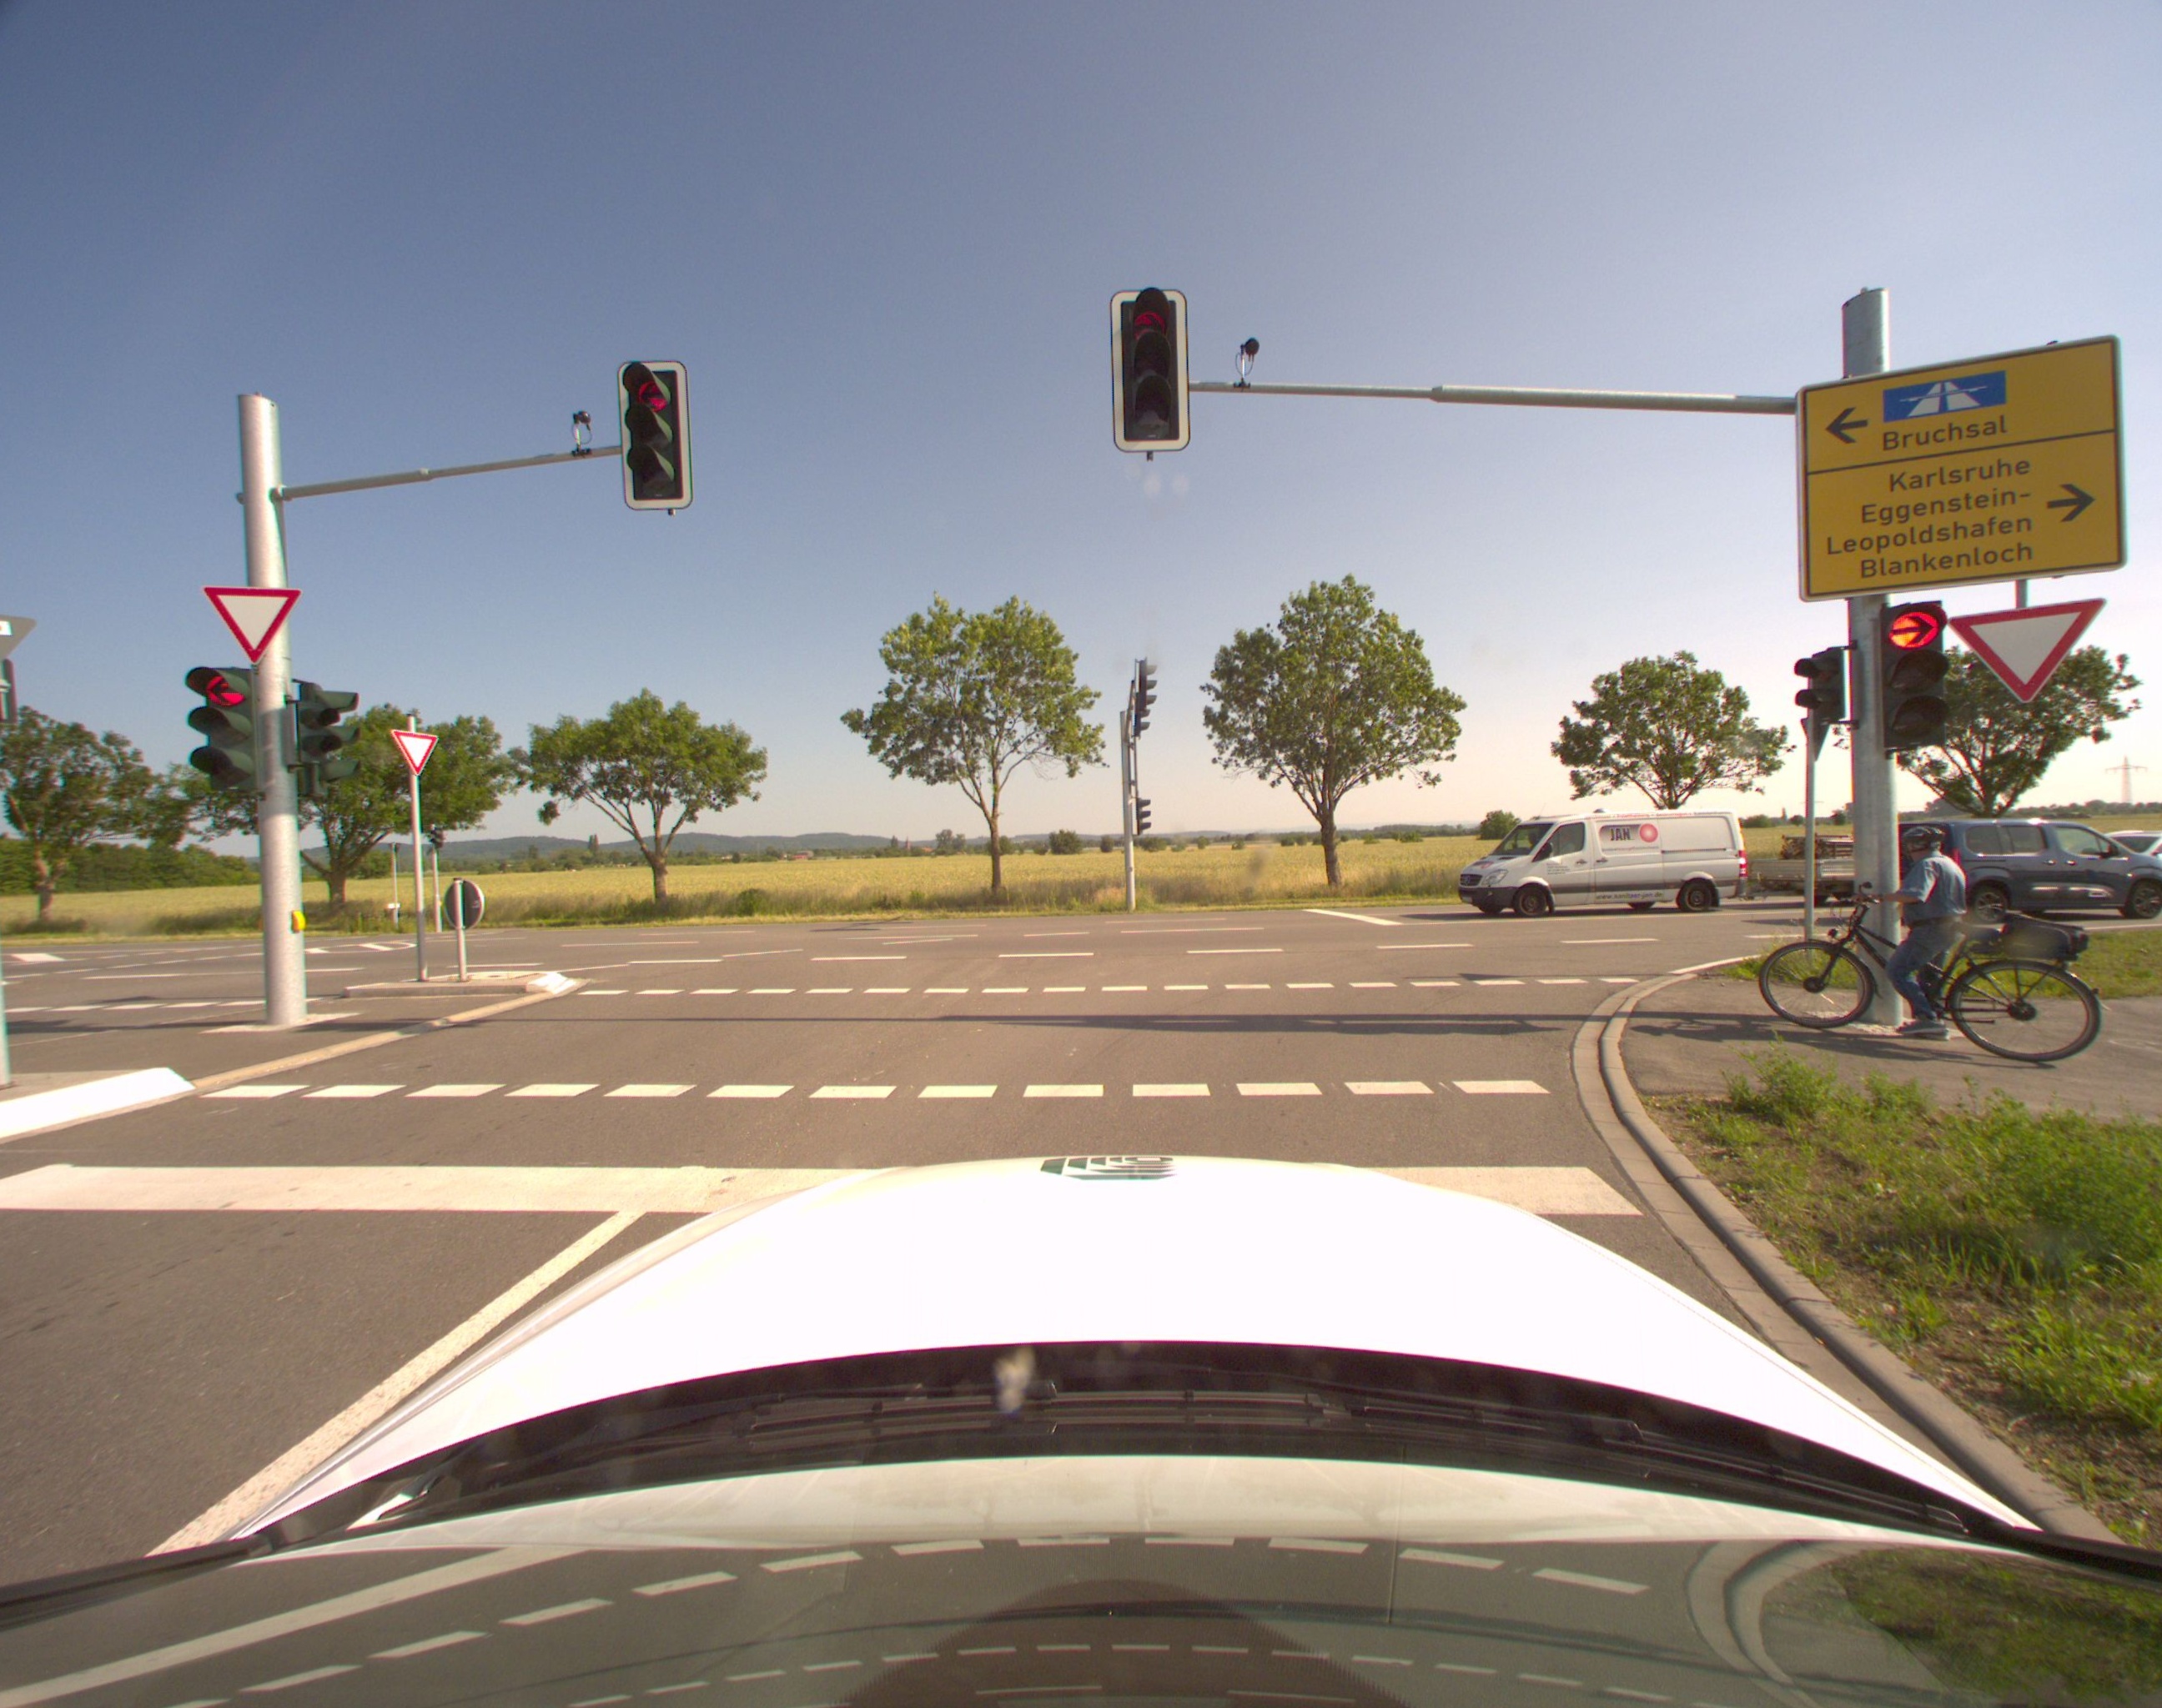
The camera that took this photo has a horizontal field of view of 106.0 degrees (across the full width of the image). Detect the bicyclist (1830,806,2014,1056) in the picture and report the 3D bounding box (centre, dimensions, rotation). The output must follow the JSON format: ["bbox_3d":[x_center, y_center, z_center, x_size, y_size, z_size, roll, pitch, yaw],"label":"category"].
[{"bbox_3d":[6.438,0.528,6.272,0.623,1.765,0.906,0,1,-44],"label":"bicyclist"}]

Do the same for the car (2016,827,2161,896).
[{"bbox_3d":[25.100,0.117,19.012,4.682,1.492,1.763,-2,-1,-3],"label":"car"}]

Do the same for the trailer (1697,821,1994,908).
[{"bbox_3d":[17.365,0.230,18.675,4.981,1.738,1.980,-2,-1,-1],"label":"trailer"}]

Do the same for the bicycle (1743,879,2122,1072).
[{"bbox_3d":[6.415,0.829,6.296,0.685,1.151,1.922,0,2,-44],"label":"bicycle"}]

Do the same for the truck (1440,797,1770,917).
[{"bbox_3d":[11.785,0.073,18.642,6.157,2.405,2.071,-2,-1,0],"label":"truck"}]

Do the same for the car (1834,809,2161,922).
[{"bbox_3d":[16.727,0.199,14.745,4.438,1.833,1.845,-1,-1,0],"label":"car"}]
